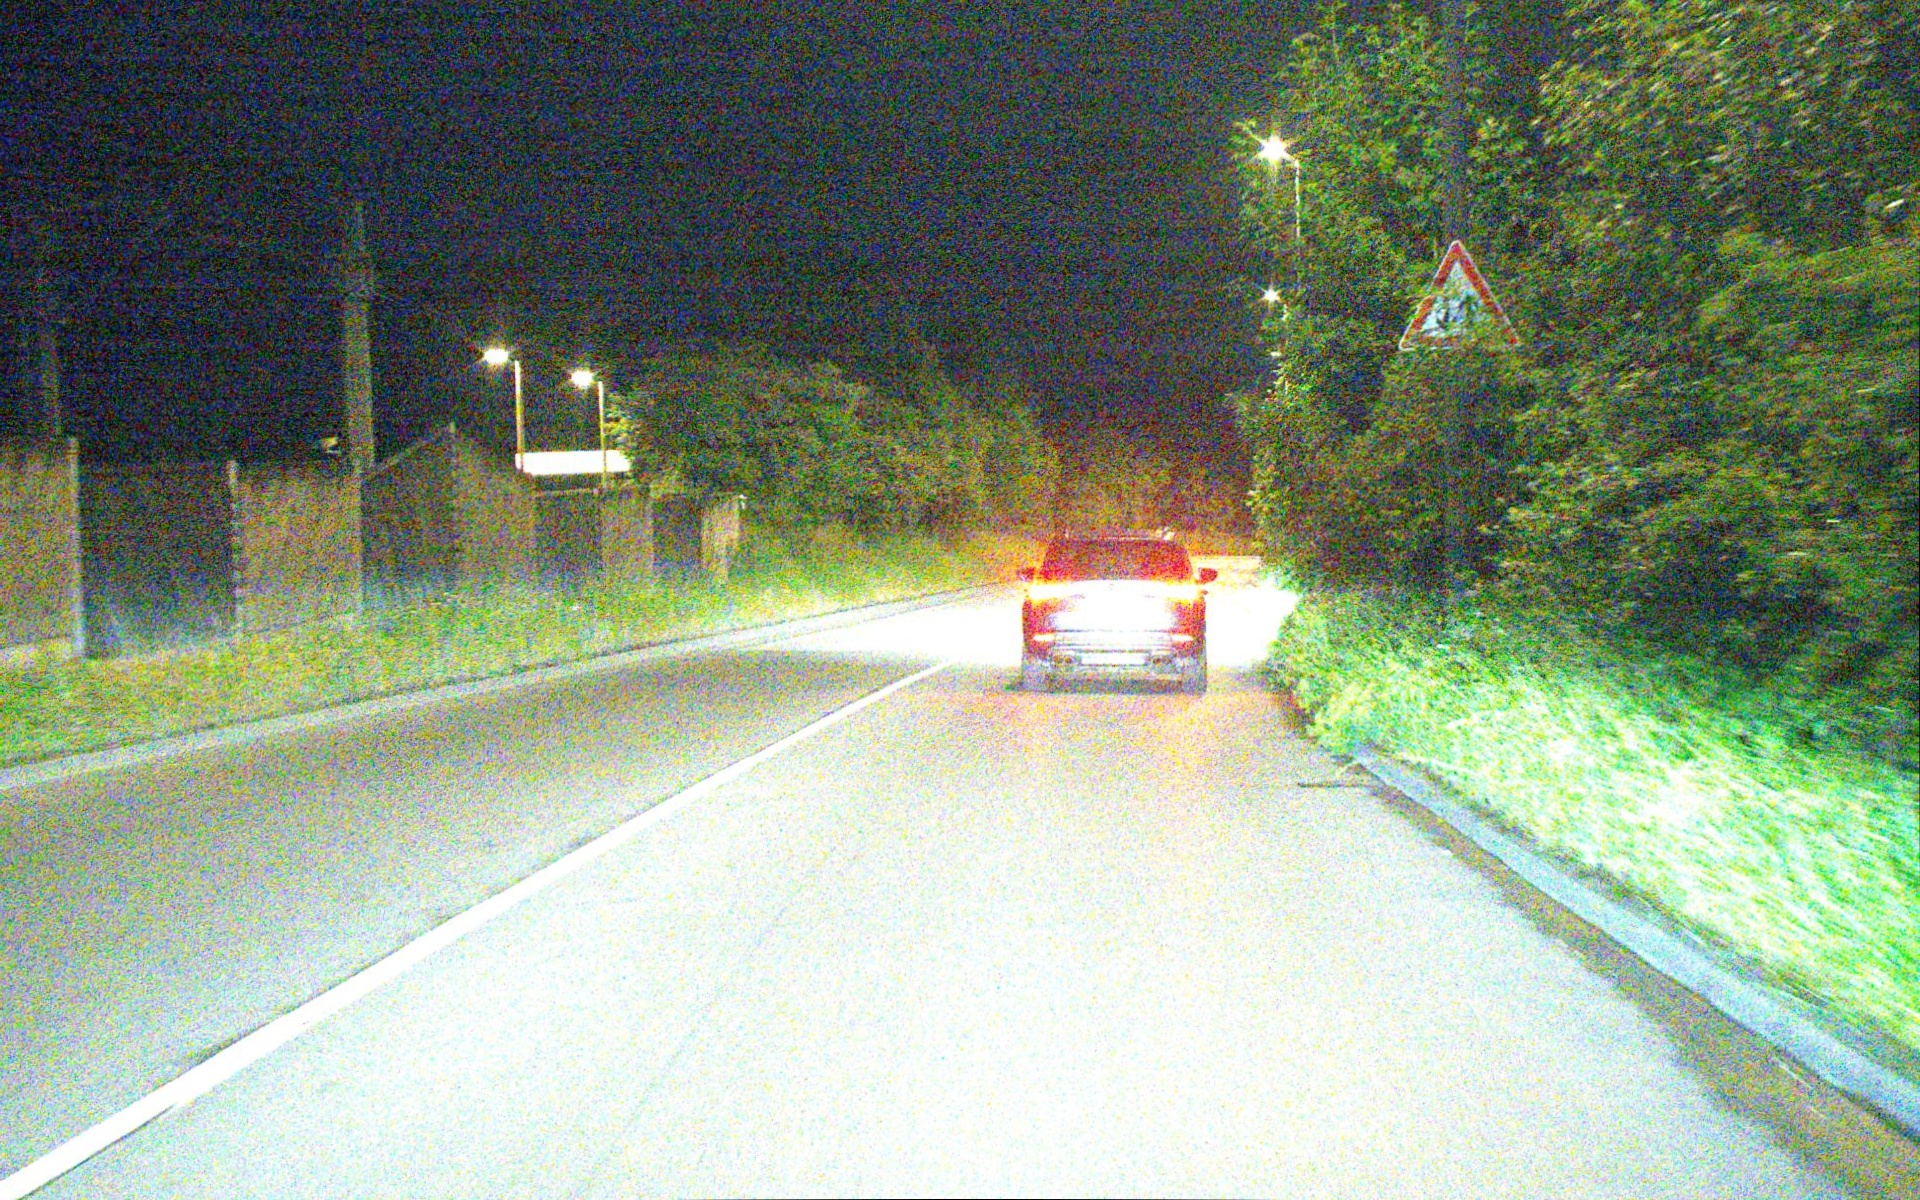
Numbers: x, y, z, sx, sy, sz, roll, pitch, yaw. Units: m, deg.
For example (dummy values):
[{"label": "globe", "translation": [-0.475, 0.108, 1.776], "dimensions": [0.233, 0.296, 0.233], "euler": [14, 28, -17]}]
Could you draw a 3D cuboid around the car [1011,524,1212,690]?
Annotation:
[{"label": "car", "translation": [1.576, 0.029, 34.497], "dimensions": [1.815, 1.568, 3.943], "euler": [0, 1, 5]}]
